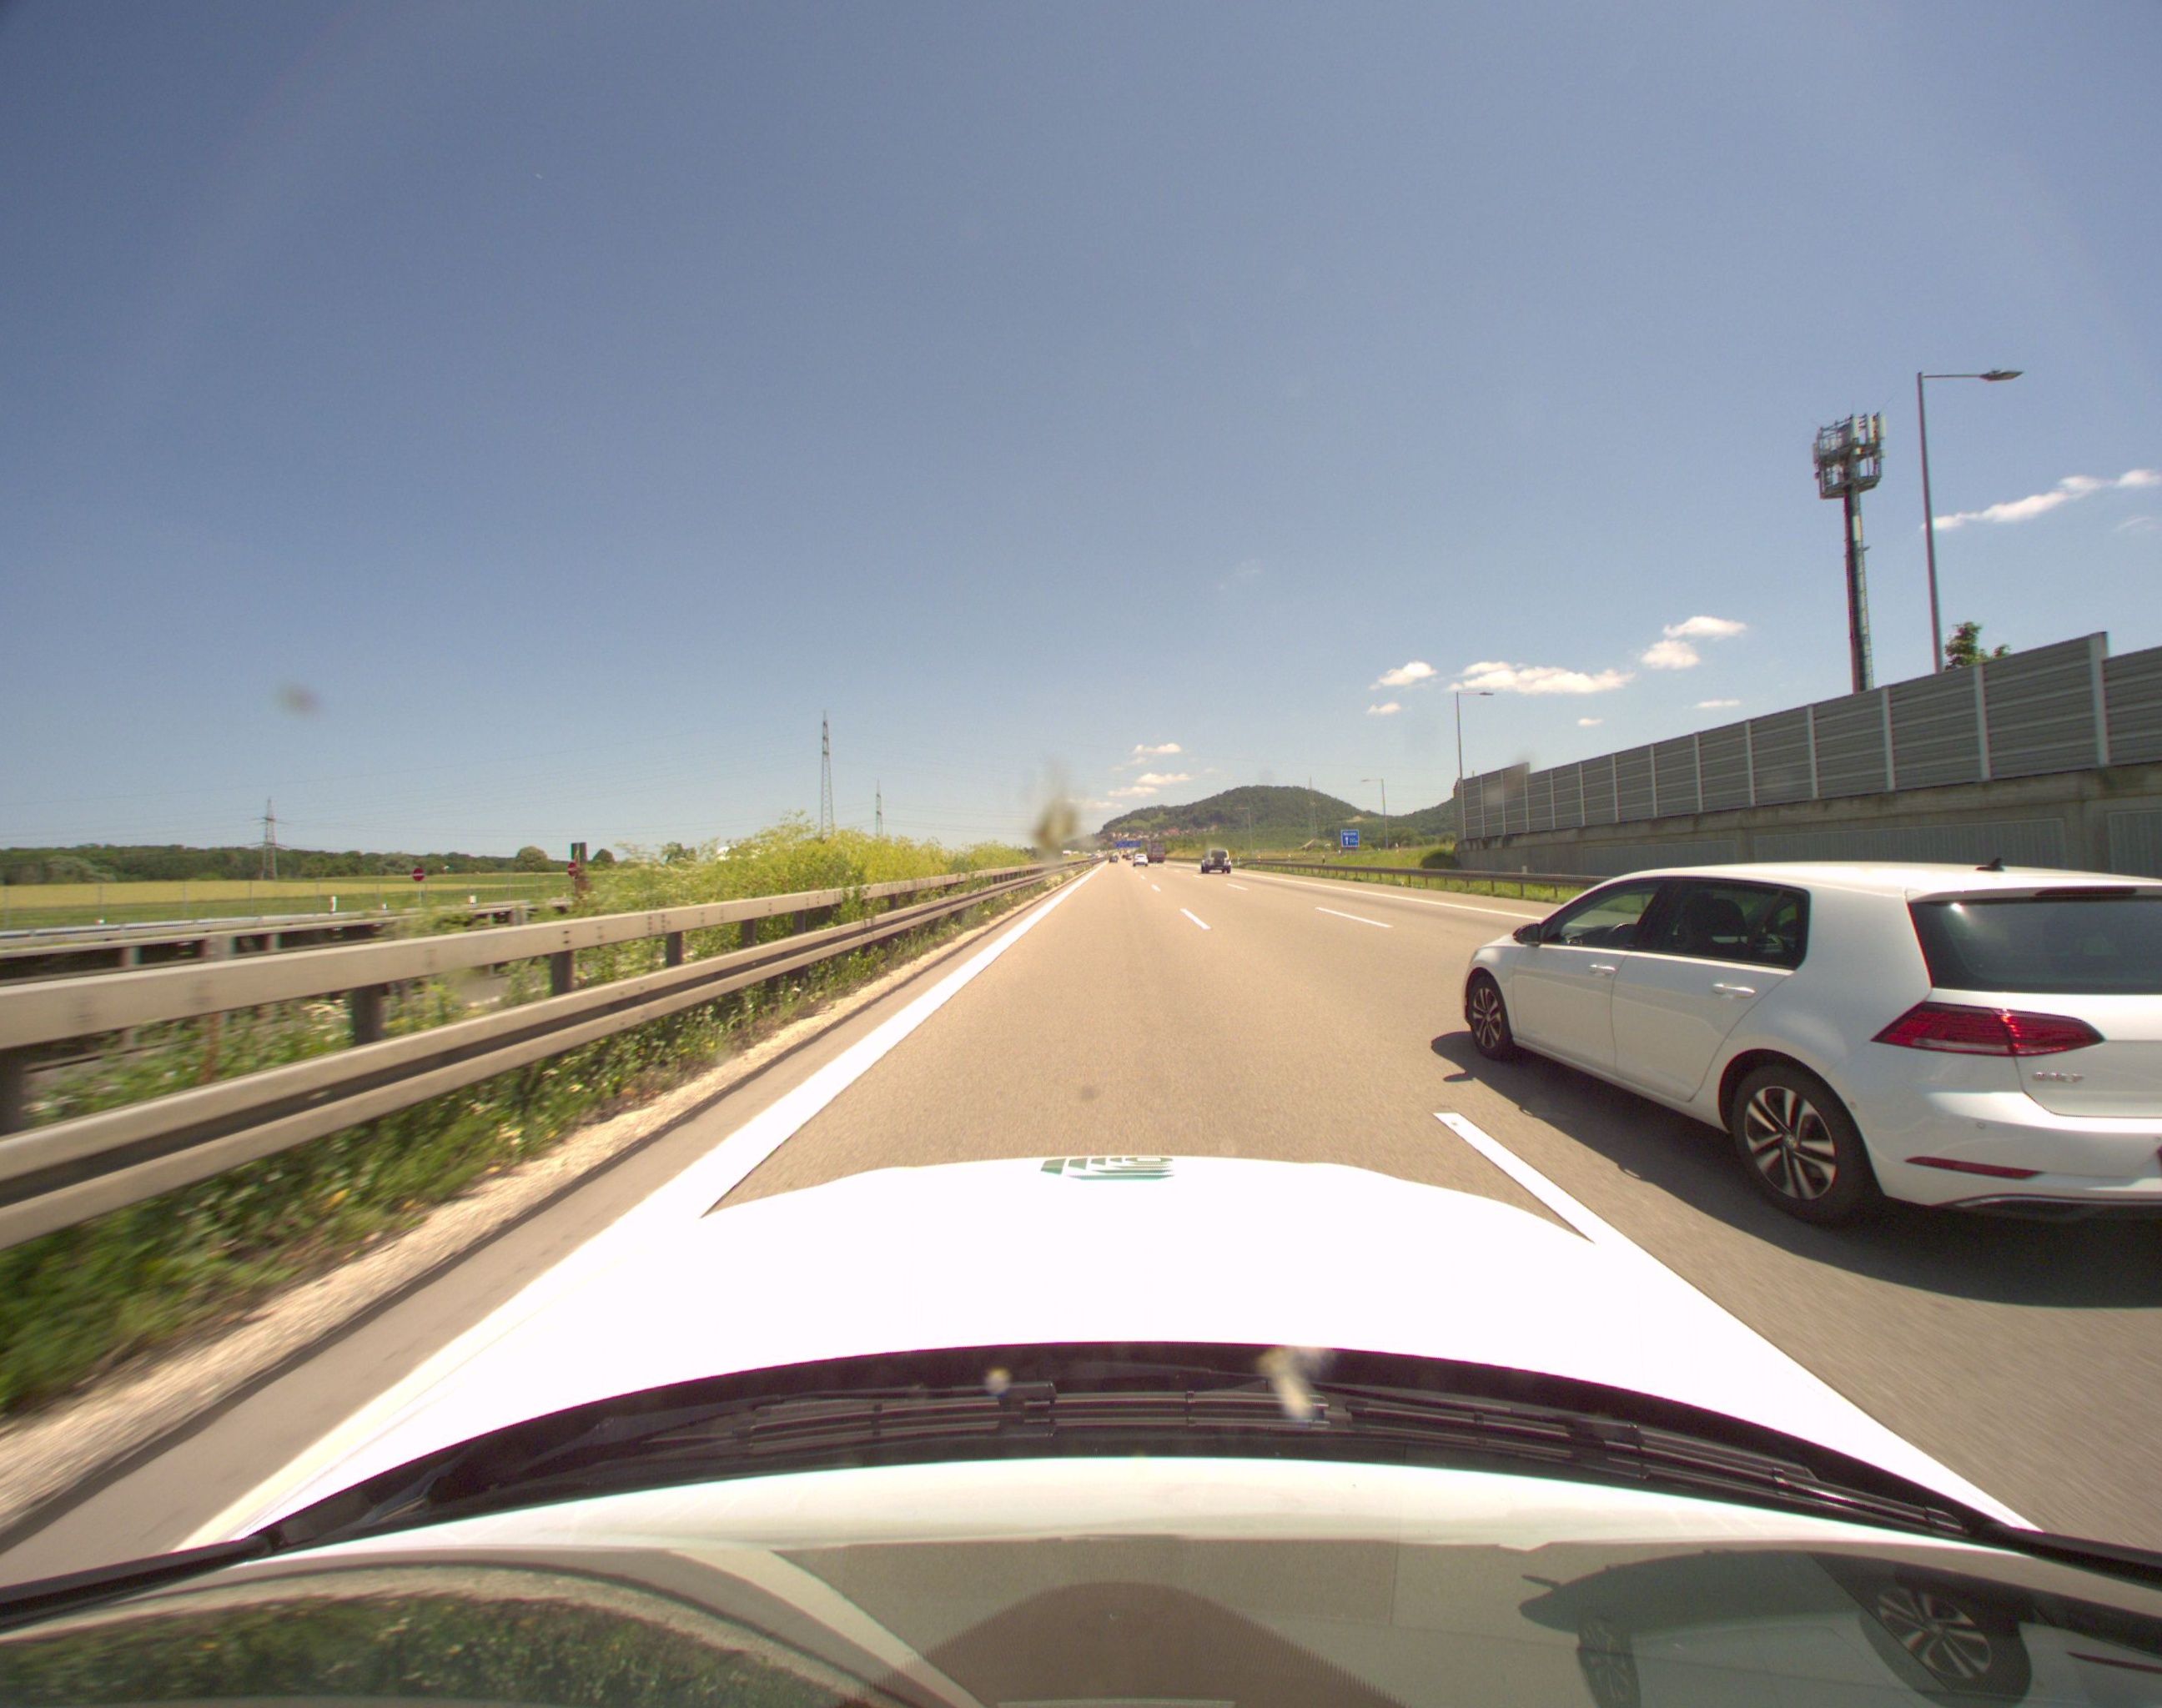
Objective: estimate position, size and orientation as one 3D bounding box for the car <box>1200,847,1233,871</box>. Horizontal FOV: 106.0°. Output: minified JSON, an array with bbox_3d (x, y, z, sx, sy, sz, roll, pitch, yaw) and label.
[{"bbox_3d":[10.673,0.397,64.484,2.027,1.804,4.252,-2,0,2],"label":"car"}]

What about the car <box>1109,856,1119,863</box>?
[{"bbox_3d":[6.571,1.034,162.315,1.985,1.389,4.003,0,-1,3],"label":"car"}]

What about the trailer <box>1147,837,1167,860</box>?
[{"bbox_3d":[14.477,-0.898,155.398,2.716,4.155,11.805,0,-1,0],"label":"trailer"}]

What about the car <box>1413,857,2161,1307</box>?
[{"bbox_3d":[3.792,0.746,4.946,1.769,1.433,4.692,0,-1,2],"label":"car"}]

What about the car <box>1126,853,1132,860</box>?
[{"bbox_3d":[14.623,0.655,247.444,1.985,2.014,4.003,0,-1,3],"label":"car"}]

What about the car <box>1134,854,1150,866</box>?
[{"bbox_3d":[8.119,0.840,108.404,1.907,1.581,5.233,0,-1,2],"label":"car"}]

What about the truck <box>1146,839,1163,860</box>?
[{"bbox_3d":[14.481,-0.888,161.369,2.743,4.020,6.787,0,-1,0],"label":"truck"}]

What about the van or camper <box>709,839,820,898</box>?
[{"bbox_3d":[-15.114,0.625,39.450,2.526,2.535,6.712,-2,0,2],"label":"van or camper"}]
